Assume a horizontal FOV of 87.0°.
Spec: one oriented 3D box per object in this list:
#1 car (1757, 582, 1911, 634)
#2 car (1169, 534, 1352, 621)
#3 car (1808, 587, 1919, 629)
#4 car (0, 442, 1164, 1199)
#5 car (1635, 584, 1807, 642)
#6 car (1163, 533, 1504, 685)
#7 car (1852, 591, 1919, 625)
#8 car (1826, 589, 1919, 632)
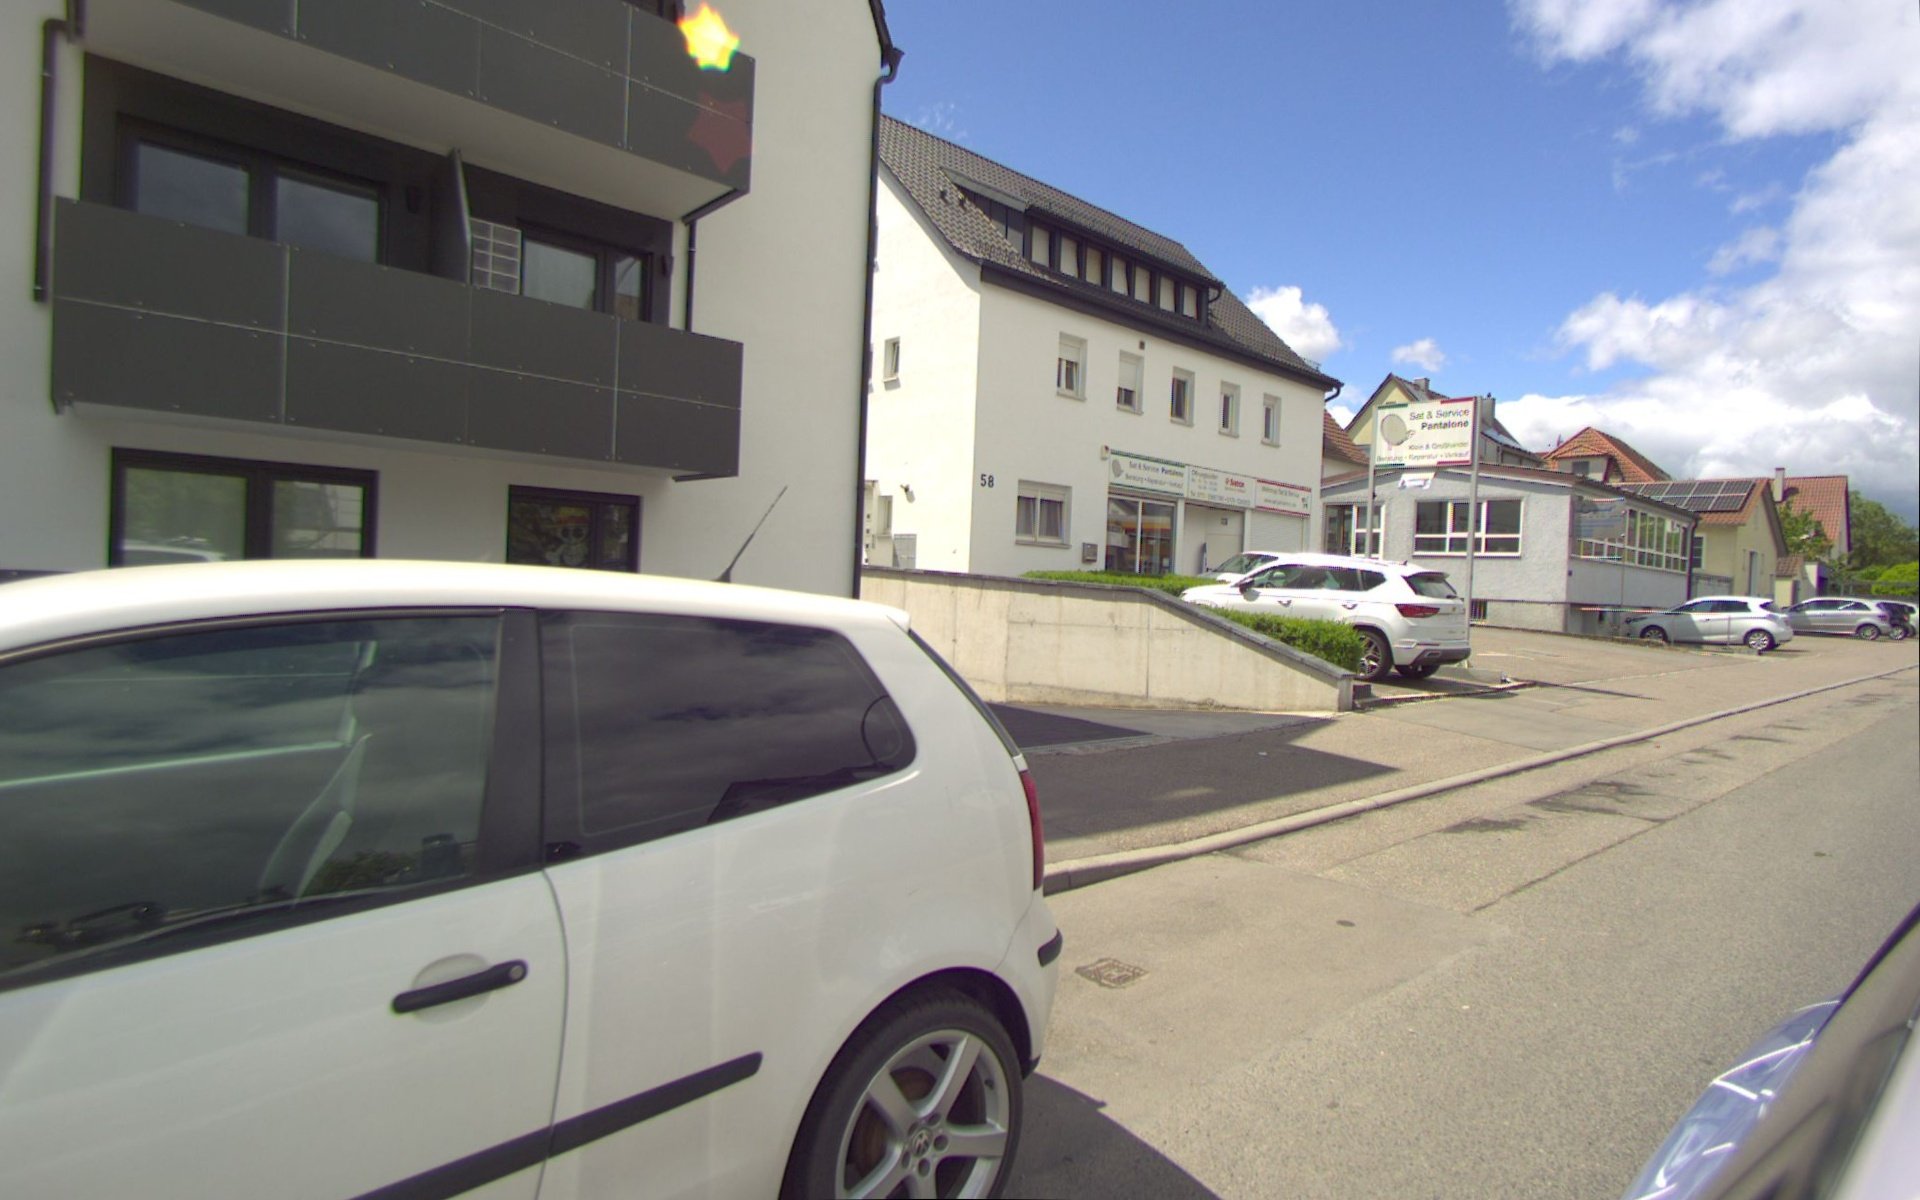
[{"bbox_3d":[34.844,0.287,40.440,1.941,1.627,4.415,1,5,-43],"label":"car"},{"bbox_3d":[6.326,-0.454,21.239,3.592,1.537,1.639,3,4,-33],"label":"car"},{"bbox_3d":[41.273,0.354,45.583,1.941,1.543,4.415,1,5,-43],"label":"car"},{"bbox_3d":[-1.633,0.496,1.744,3.910,1.449,1.725,1,3,-38],"label":"car"},{"bbox_3d":[22.780,0.350,30.392,1.719,1.629,3.905,1,0,-41],"label":"car"},{"bbox_3d":[5.251,0.010,14.713,1.834,1.673,4.204,1,5,-40],"label":"car"},{"bbox_3d":[47.508,0.473,50.397,1.941,1.423,4.415,1,5,-43],"label":"car"},{"bbox_3d":[38.572,0.418,42.612,1.941,1.543,2.893,1,5,-43],"label":"car"}]
